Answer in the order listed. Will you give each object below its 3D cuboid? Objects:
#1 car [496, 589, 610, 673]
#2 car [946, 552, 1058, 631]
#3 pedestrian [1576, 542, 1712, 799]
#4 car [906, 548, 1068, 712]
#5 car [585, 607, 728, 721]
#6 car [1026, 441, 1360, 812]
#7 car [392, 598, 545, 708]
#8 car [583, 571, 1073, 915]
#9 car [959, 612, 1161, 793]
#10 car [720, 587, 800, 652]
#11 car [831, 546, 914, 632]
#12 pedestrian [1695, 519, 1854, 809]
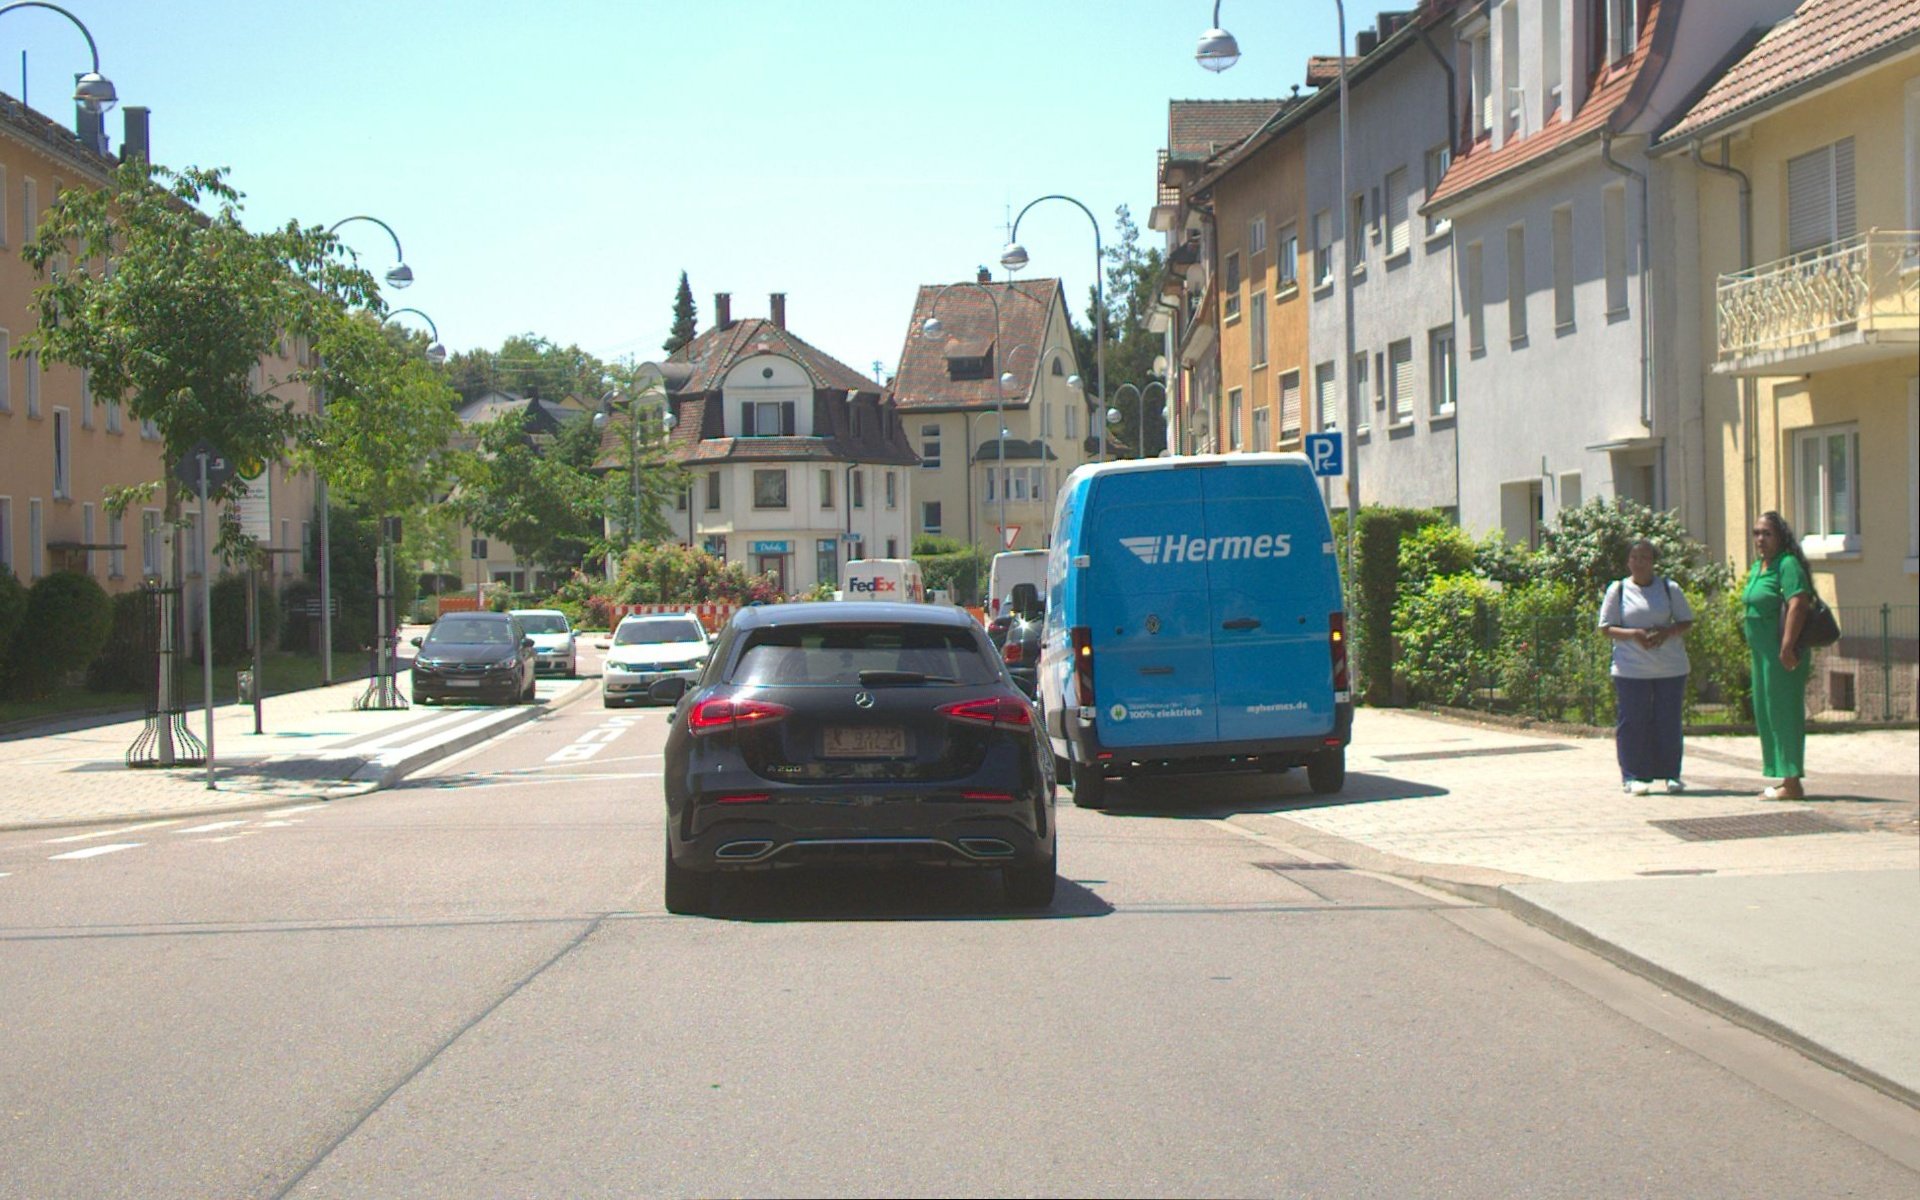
[{"bbox_3d":[-8.621,0.635,73.039,1.993,1.654,4.000,1,1,-1],"label":"car"},{"bbox_3d":[0.779,-0.186,67.257,1.993,1.387,4.330,-1,2,-2],"label":"car"},{"bbox_3d":[4.393,0.439,22.120,0.613,1.607,0.838,-1,1,-6],"label":"pedestrian"},{"bbox_3d":[0.314,0.351,45.978,1.993,2.006,4.001,-1,2,-2],"label":"car"},{"bbox_3d":[-4.826,0.995,55.154,1.993,1.654,4.000,1,1,-1],"label":"car"},{"bbox_3d":[1.652,0.149,26.064,2.133,2.532,4.649,-1,1,-1],"label":"car"},{"bbox_3d":[-8.064,0.841,56.735,1.993,1.654,4.000,1,1,-1],"label":"car"},{"bbox_3d":[-0.780,0.694,16.917,1.827,1.437,4.000,-1,-2,-10],"label":"car"},{"bbox_3d":[1.054,1.094,38.543,1.993,1.740,4.330,-1,2,-2],"label":"car"},{"bbox_3d":[-5.464,0.527,94.270,1.993,1.654,4.000,1,1,-1],"label":"car"},{"bbox_3d":[-2.557,-0.345,100.473,2.244,2.335,4.853,-3,1,-1],"label":"car"},{"bbox_3d":[4.995,0.381,21.106,0.660,1.735,0.702,-1,1,-18],"label":"pedestrian"}]
